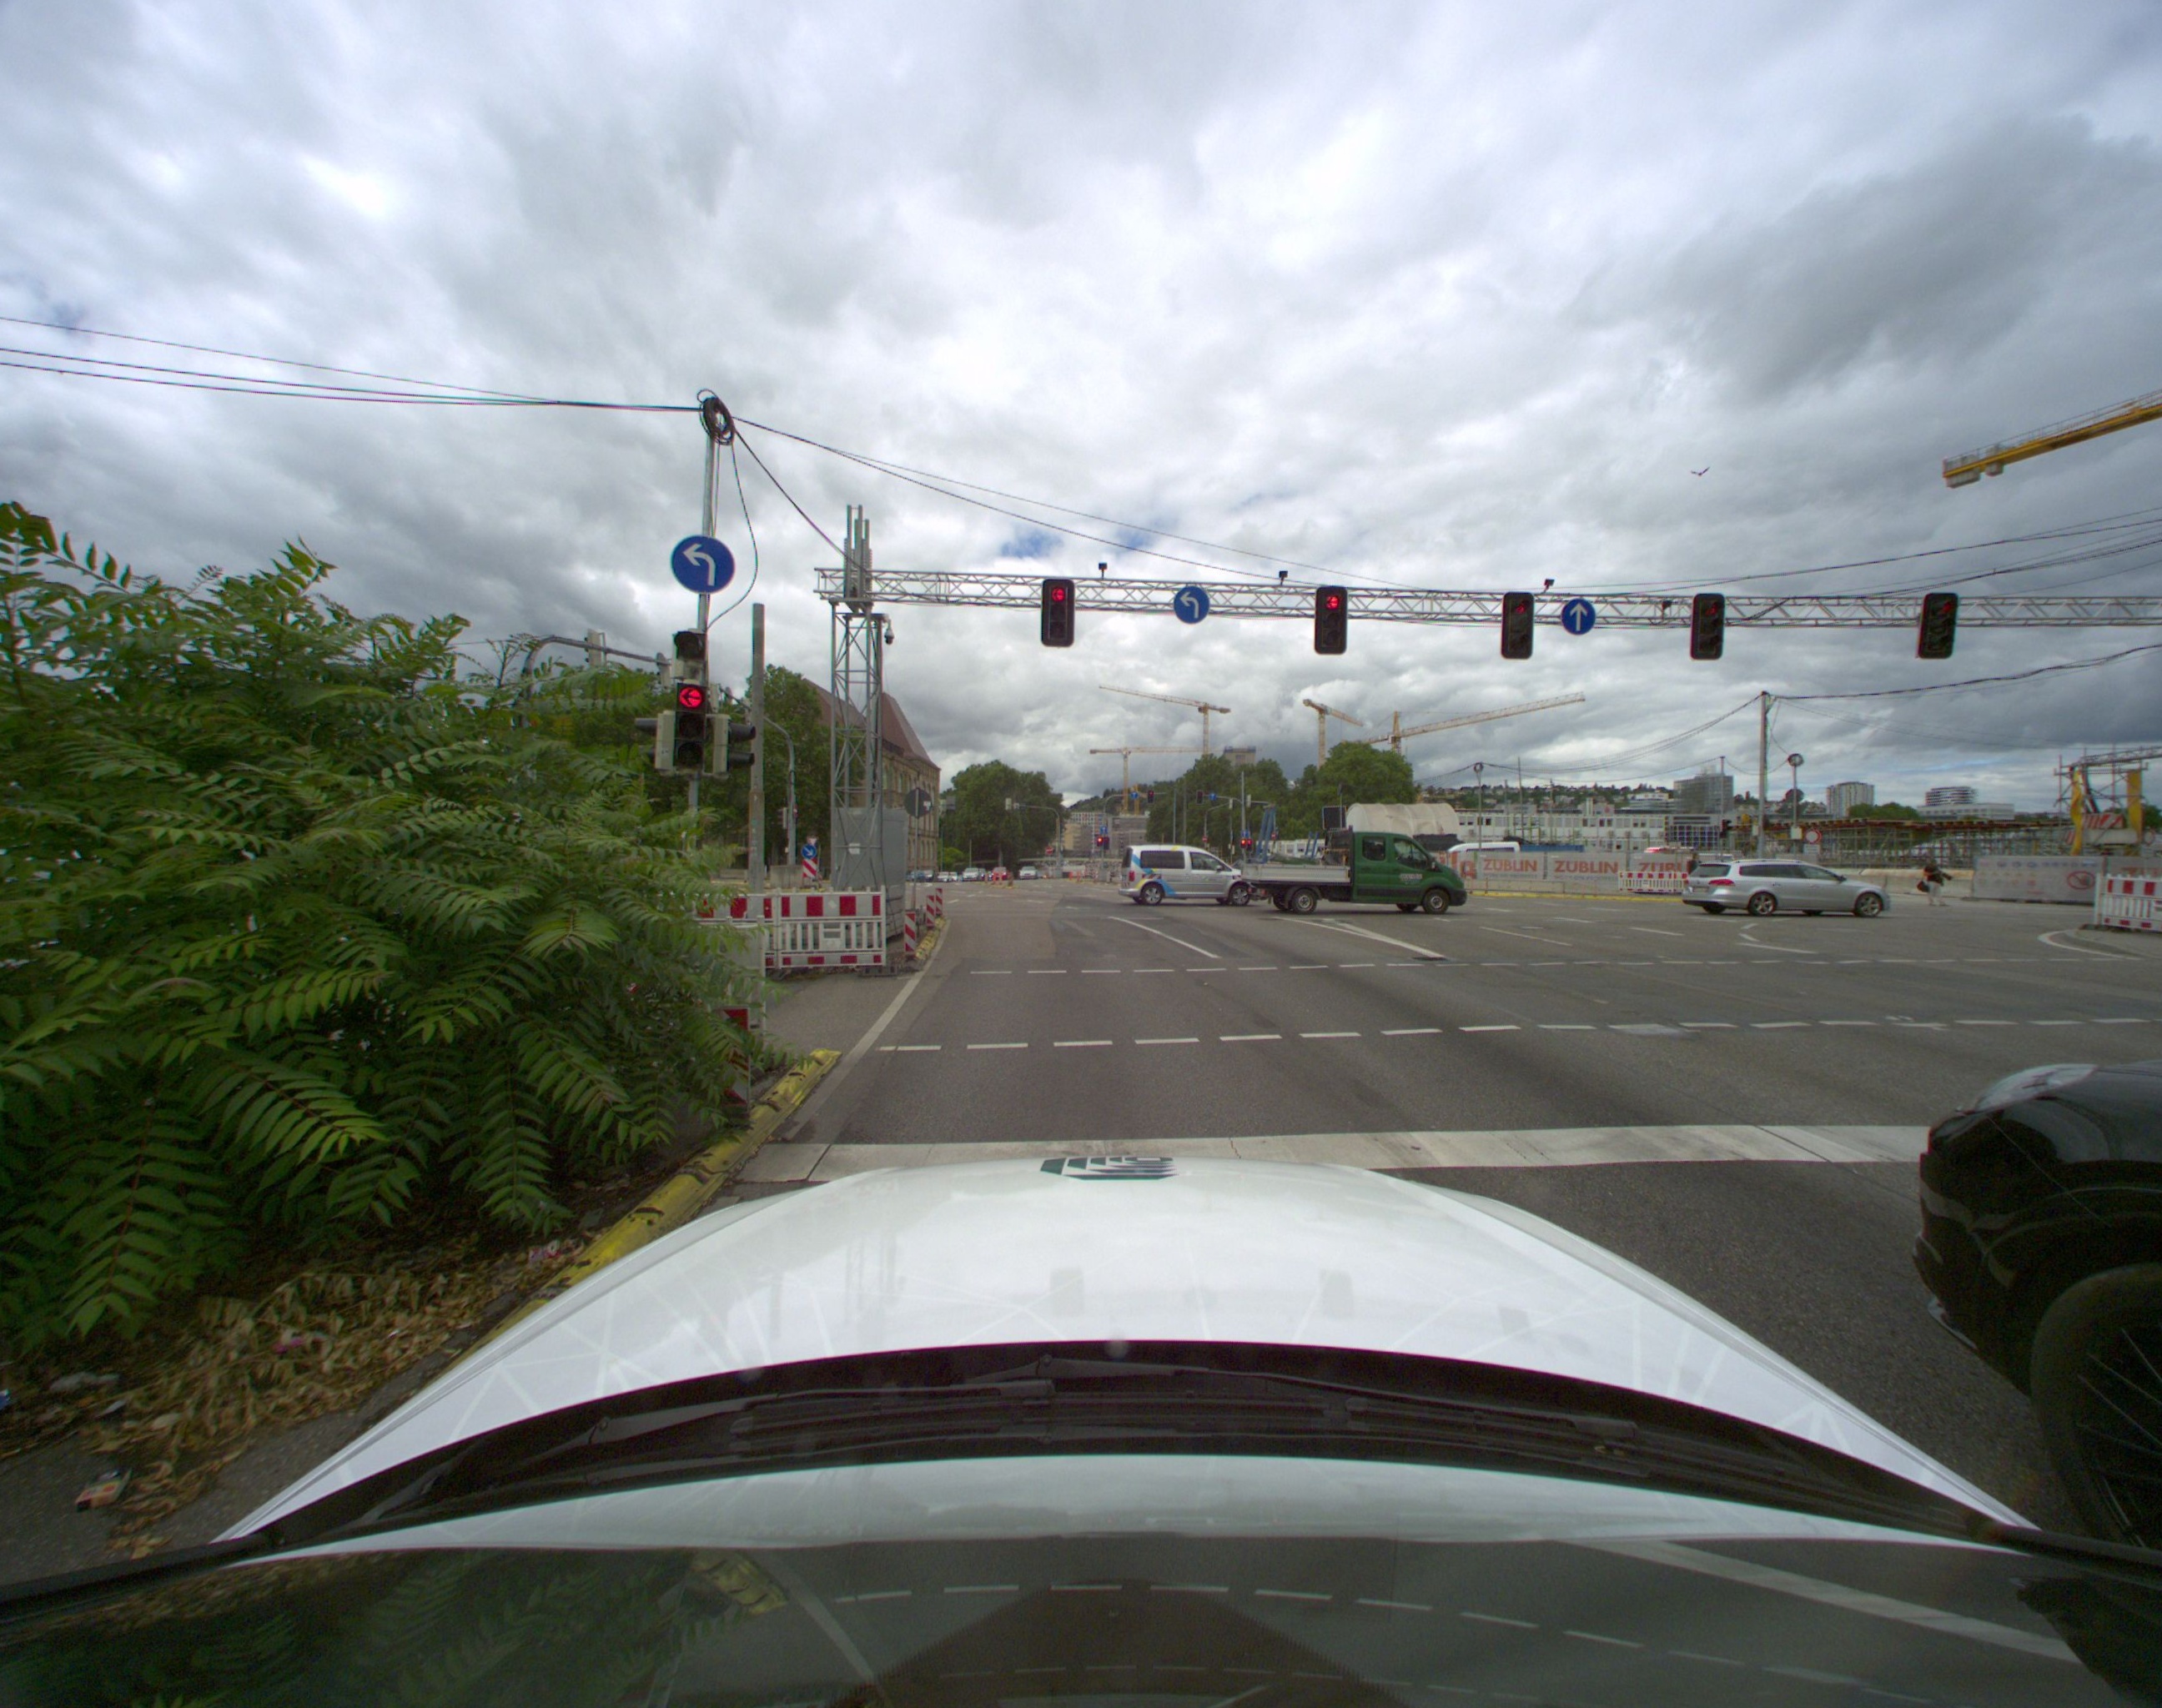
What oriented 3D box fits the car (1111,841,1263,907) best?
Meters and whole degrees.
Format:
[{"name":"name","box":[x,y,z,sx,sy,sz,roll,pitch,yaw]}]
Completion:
[{"name":"car","box":[3.175,0.586,24.841,4.263,1.882,1.825,0,-1,-8]}]

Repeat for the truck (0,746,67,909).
[{"name":"truck","box":[-29.421,-0.648,20.104,4.864,4.064,2.942,0,-1,-3]}]

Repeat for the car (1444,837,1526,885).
[{"name":"car","box":[23.224,0.414,46.967,3.957,2.662,1.688,-1,-1,15]}]

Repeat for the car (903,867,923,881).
[{"name":"car","box":[-17.917,2.152,87.077,1.673,1.398,3.677,0,-1,-4]}]

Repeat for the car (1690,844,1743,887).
[{"name":"car","box":[30.127,0.554,38.695,1.755,1.954,3.146,-1,-1,34]}]

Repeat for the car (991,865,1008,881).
[{"name":"car","box":[-8.490,1.977,85.083,1.673,1.580,3.677,0,-1,-4]}]

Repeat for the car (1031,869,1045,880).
[{"name":"car","box":[-5.732,2.748,108.447,1.673,1.398,3.677,0,-1,-4]}]

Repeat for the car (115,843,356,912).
[{"name":"car","box":[-21.018,0.560,20.378,4.041,1.625,1.829,0,-1,-1]}]

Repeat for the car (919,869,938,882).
[{"name":"car","box":[-17.486,2.410,93.489,1.673,1.398,3.677,0,-1,-4]}]

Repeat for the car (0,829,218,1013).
[{"name":"car","box":[-11.797,0.657,9.143,1.844,1.746,3.961,0,-1,-31]}]

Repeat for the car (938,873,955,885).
[{"name":"car","box":[-16.591,3.093,100.516,1.673,1.398,3.677,0,-1,-4]}]

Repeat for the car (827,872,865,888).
[{"name":"car","box":[-22.799,2.494,79.014,1.662,1.398,3.701,-1,-1,20]}]

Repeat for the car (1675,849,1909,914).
[{"name":"car","box":[18.713,0.703,21.581,4.693,1.625,1.682,0,-1,1]}]

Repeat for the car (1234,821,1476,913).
[{"name":"car","box":[7.239,0.321,21.948,5.745,2.305,2.301,0,-1,-3]}]

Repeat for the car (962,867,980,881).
[{"name":"car","box":[-11.630,2.098,86.067,1.673,1.398,3.677,0,-1,-4]}]

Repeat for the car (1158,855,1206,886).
[{"name":"car","box":[5.953,0.930,48.486,1.830,1.746,4.244,0,-1,-8]}]

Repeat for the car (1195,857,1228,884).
[{"name":"car","box":[8.471,1.044,52.993,1.670,1.702,3.375,0,-1,2]}]

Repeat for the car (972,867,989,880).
[{"name":"car","box":[-11.378,2.246,92.224,1.673,1.398,3.677,0,-1,-4]}]

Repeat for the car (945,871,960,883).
[{"name":"car","box":[-17.245,3.095,109.155,1.672,1.398,3.677,-1,-3,-4]}]

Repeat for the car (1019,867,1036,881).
[{"name":"car","box":[-5.597,2.049,85.339,1.673,1.398,3.677,0,-1,-4]}]
